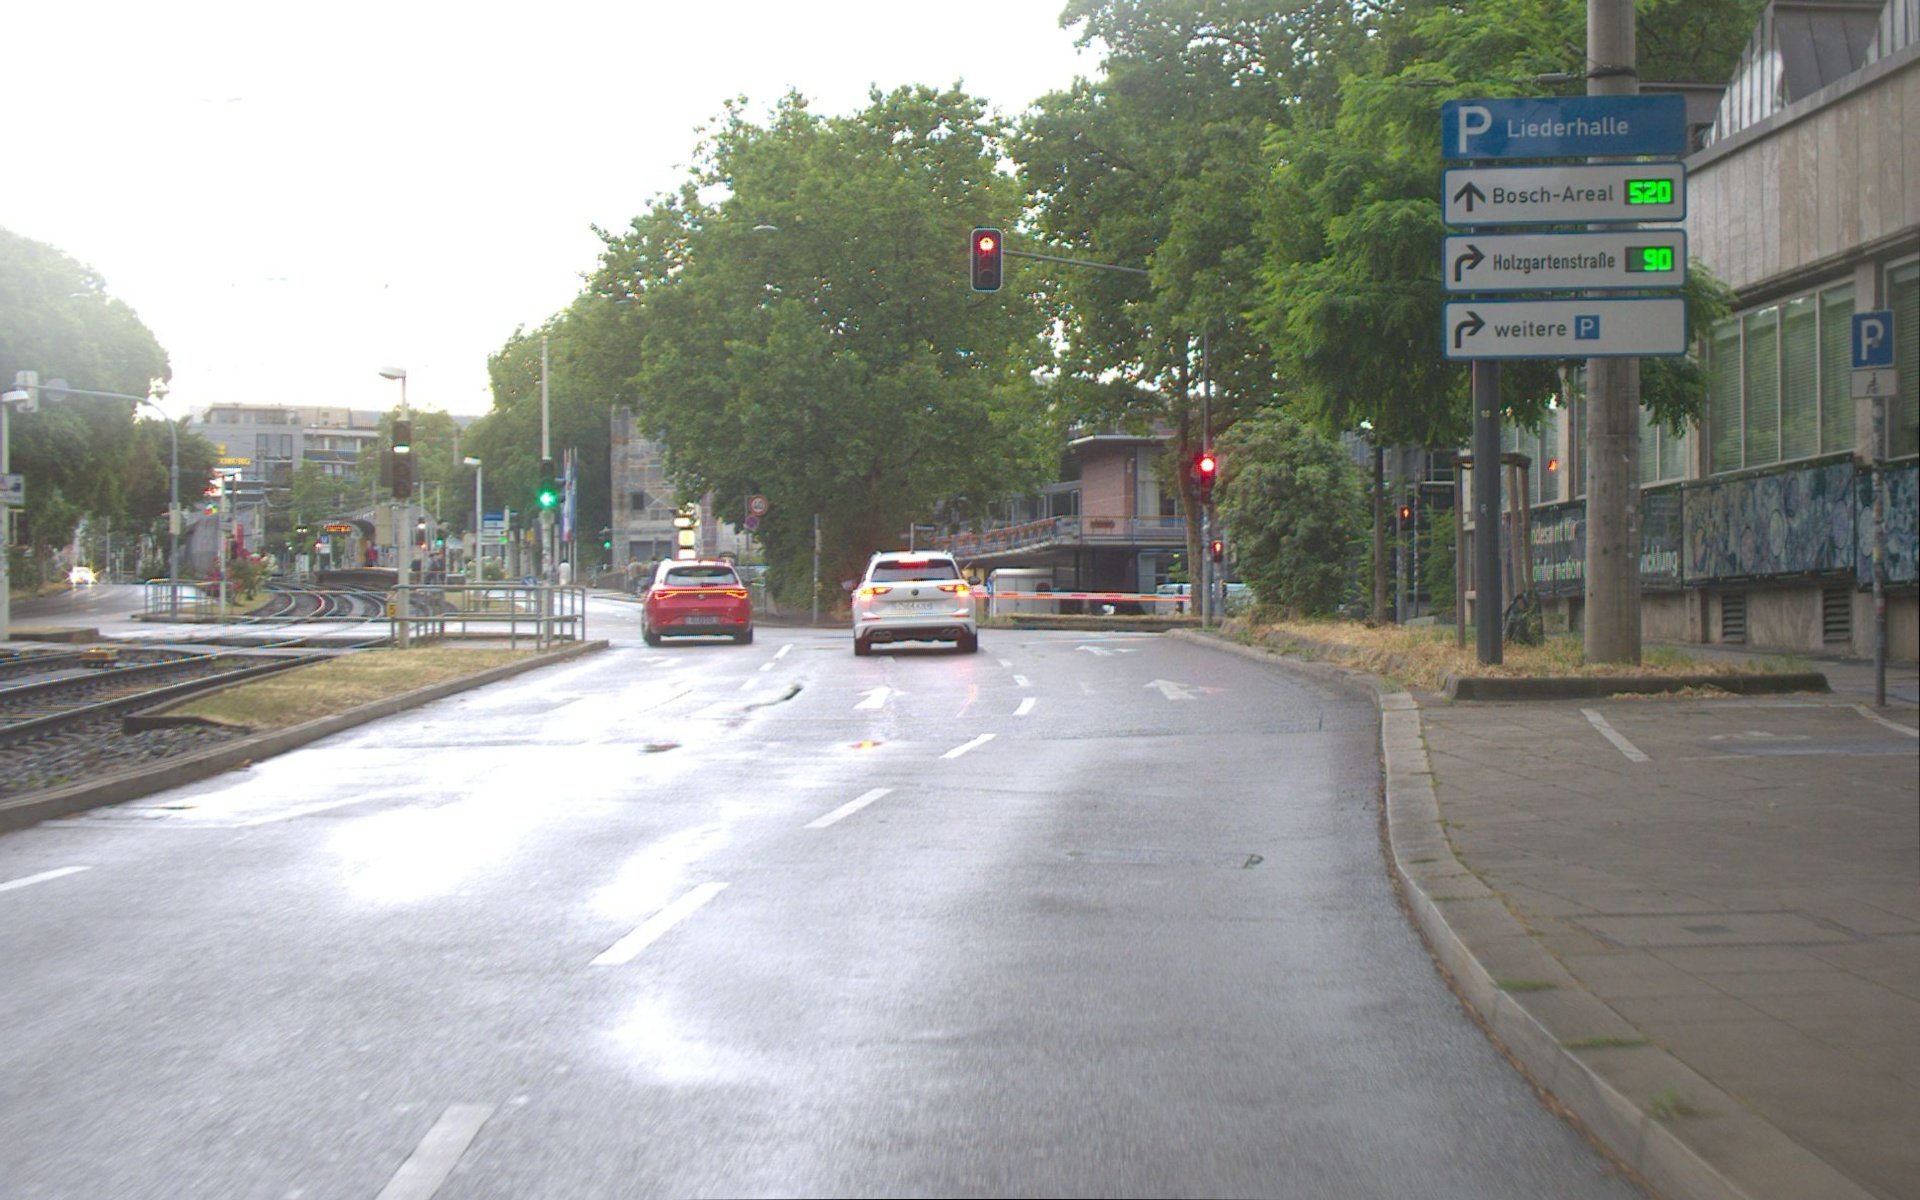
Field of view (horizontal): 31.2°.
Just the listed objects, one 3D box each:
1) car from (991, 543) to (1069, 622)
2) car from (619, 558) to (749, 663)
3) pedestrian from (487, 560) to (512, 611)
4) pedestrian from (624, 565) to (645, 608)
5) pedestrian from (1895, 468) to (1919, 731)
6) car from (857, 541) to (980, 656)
[{"bbox_3d":[2.844,-0.694,140.456,2.544,3.123,5.031,1,0,-5],"label":"car"},{"bbox_3d":[-4.564,0.182,57.404,1.980,1.634,4.417,1,0,-3],"label":"car"},{"bbox_3d":[-15.014,-0.480,112.120,0.737,1.634,0.871,1,-1,-9],"label":"pedestrian"},{"bbox_3d":[-13.768,-0.560,145.408,0.756,1.817,0.701,2,-1,-13],"label":"pedestrian"},{"bbox_3d":[6.746,-0.033,23.141,0.718,1.736,1.019,-3,1,10],"label":"pedestrian"},{"bbox_3d":[-0.595,-0.053,49.735,1.679,1.571,4.253,-1,1,0],"label":"car"}]
